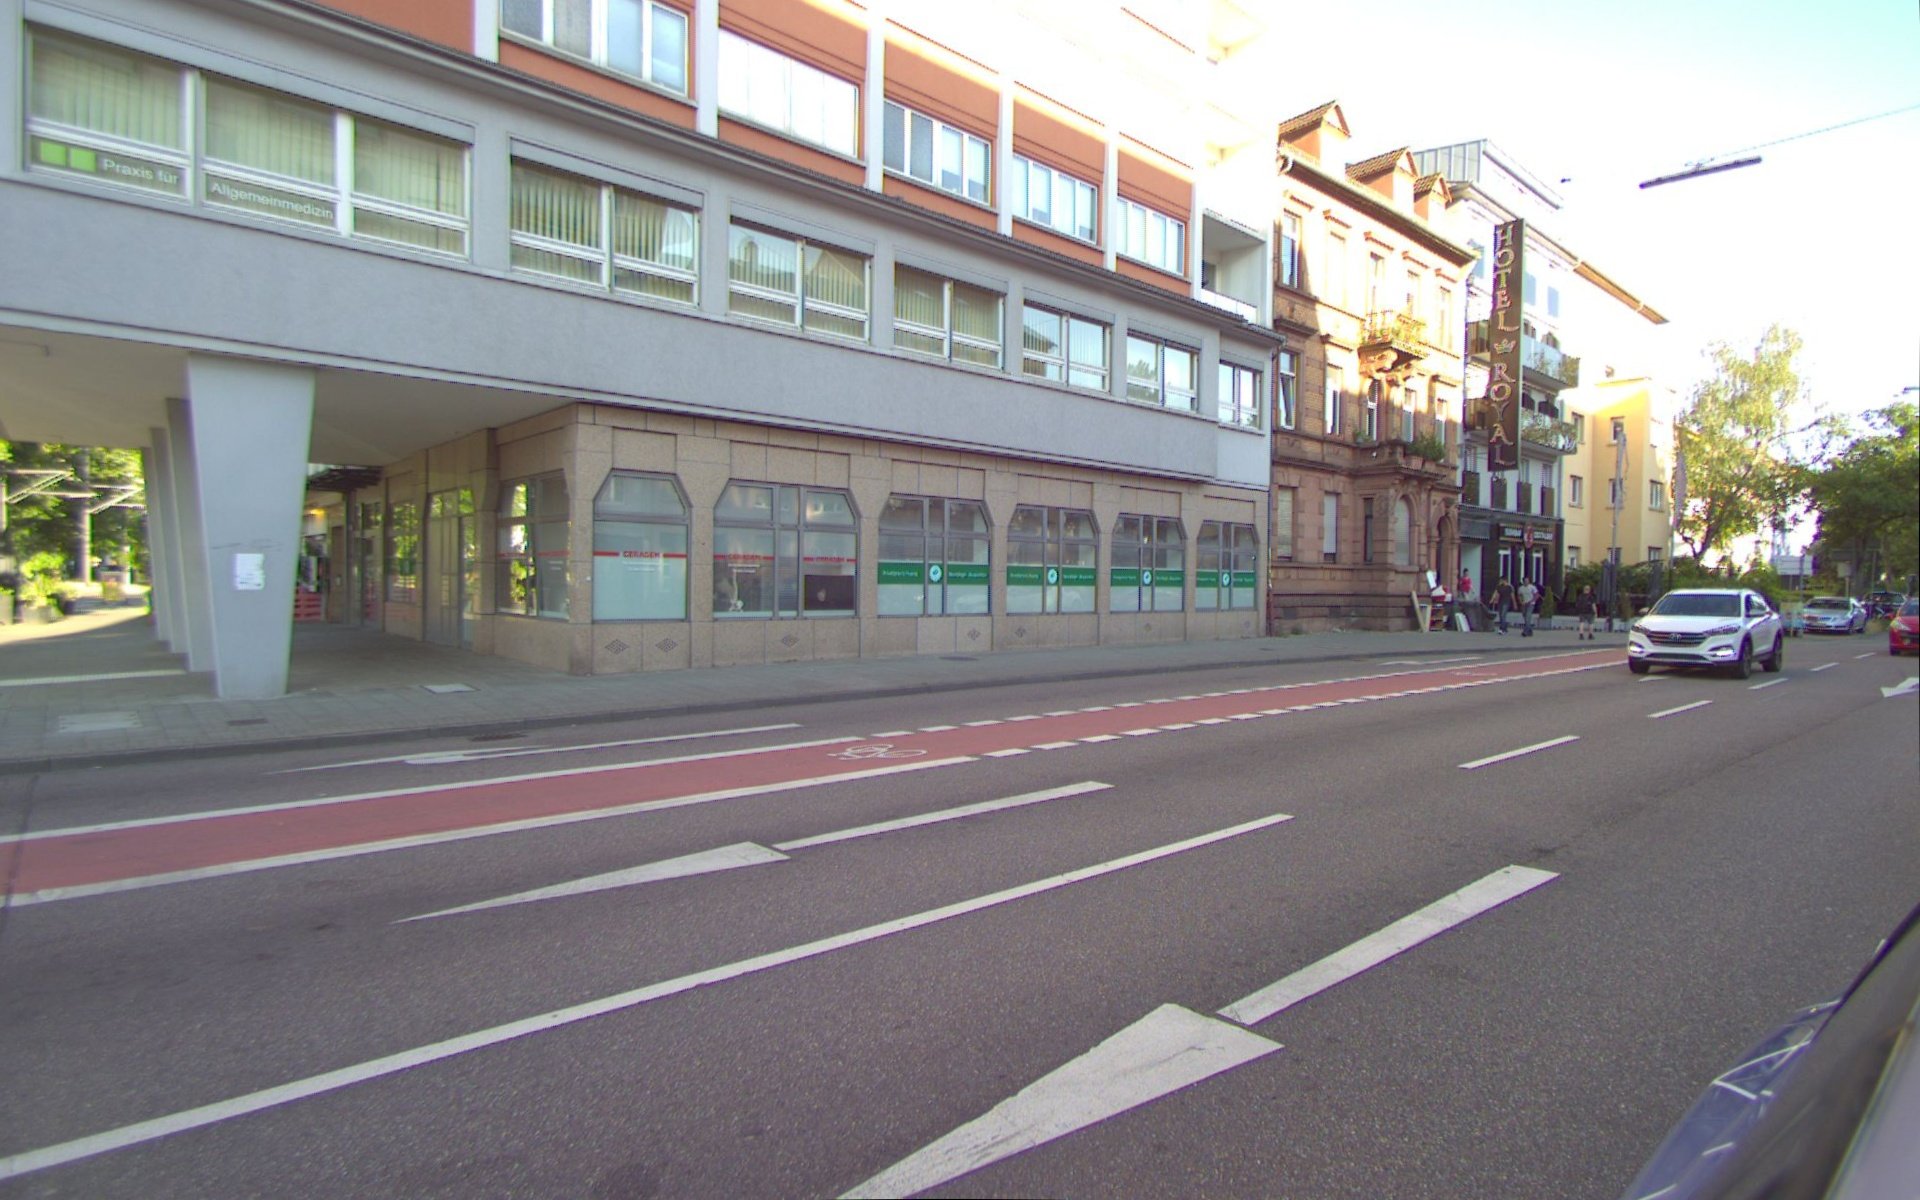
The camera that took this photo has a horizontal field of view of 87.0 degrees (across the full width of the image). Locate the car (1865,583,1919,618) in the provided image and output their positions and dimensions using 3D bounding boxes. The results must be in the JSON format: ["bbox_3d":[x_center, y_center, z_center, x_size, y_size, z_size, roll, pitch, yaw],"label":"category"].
[{"bbox_3d":[47.362,0.001,51.158,4.121,1.645,1.945,0,1,-42],"label":"car"}]

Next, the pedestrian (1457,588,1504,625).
[{"bbox_3d":[16.736,0.210,32.554,0.909,1.150,1.099,0,1,-43],"label":"pedestrian"}]

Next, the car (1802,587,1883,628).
[{"bbox_3d":[35.703,0.274,40.907,4.003,1.536,1.905,0,1,-41],"label":"car"}]

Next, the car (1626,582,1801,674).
[{"bbox_3d":[14.921,0.466,19.974,4.195,1.627,1.920,-1,0,-41],"label":"car"}]

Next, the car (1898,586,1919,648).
[{"bbox_3d":[25.050,0.397,25.482,3.930,1.481,1.673,-1,0,-41],"label":"car"}]

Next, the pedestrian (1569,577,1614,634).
[{"bbox_3d":[18.931,0.159,30.331,0.992,1.621,0.739,0,4,-37],"label":"pedestrian"}]

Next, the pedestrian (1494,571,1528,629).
[{"bbox_3d":[17.135,-0.005,31.472,0.666,1.747,0.995,2,1,43],"label":"pedestrian"}]

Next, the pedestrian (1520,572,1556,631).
[{"bbox_3d":[17.672,0.040,30.937,0.994,1.747,0.667,0,1,-44],"label":"pedestrian"}]
